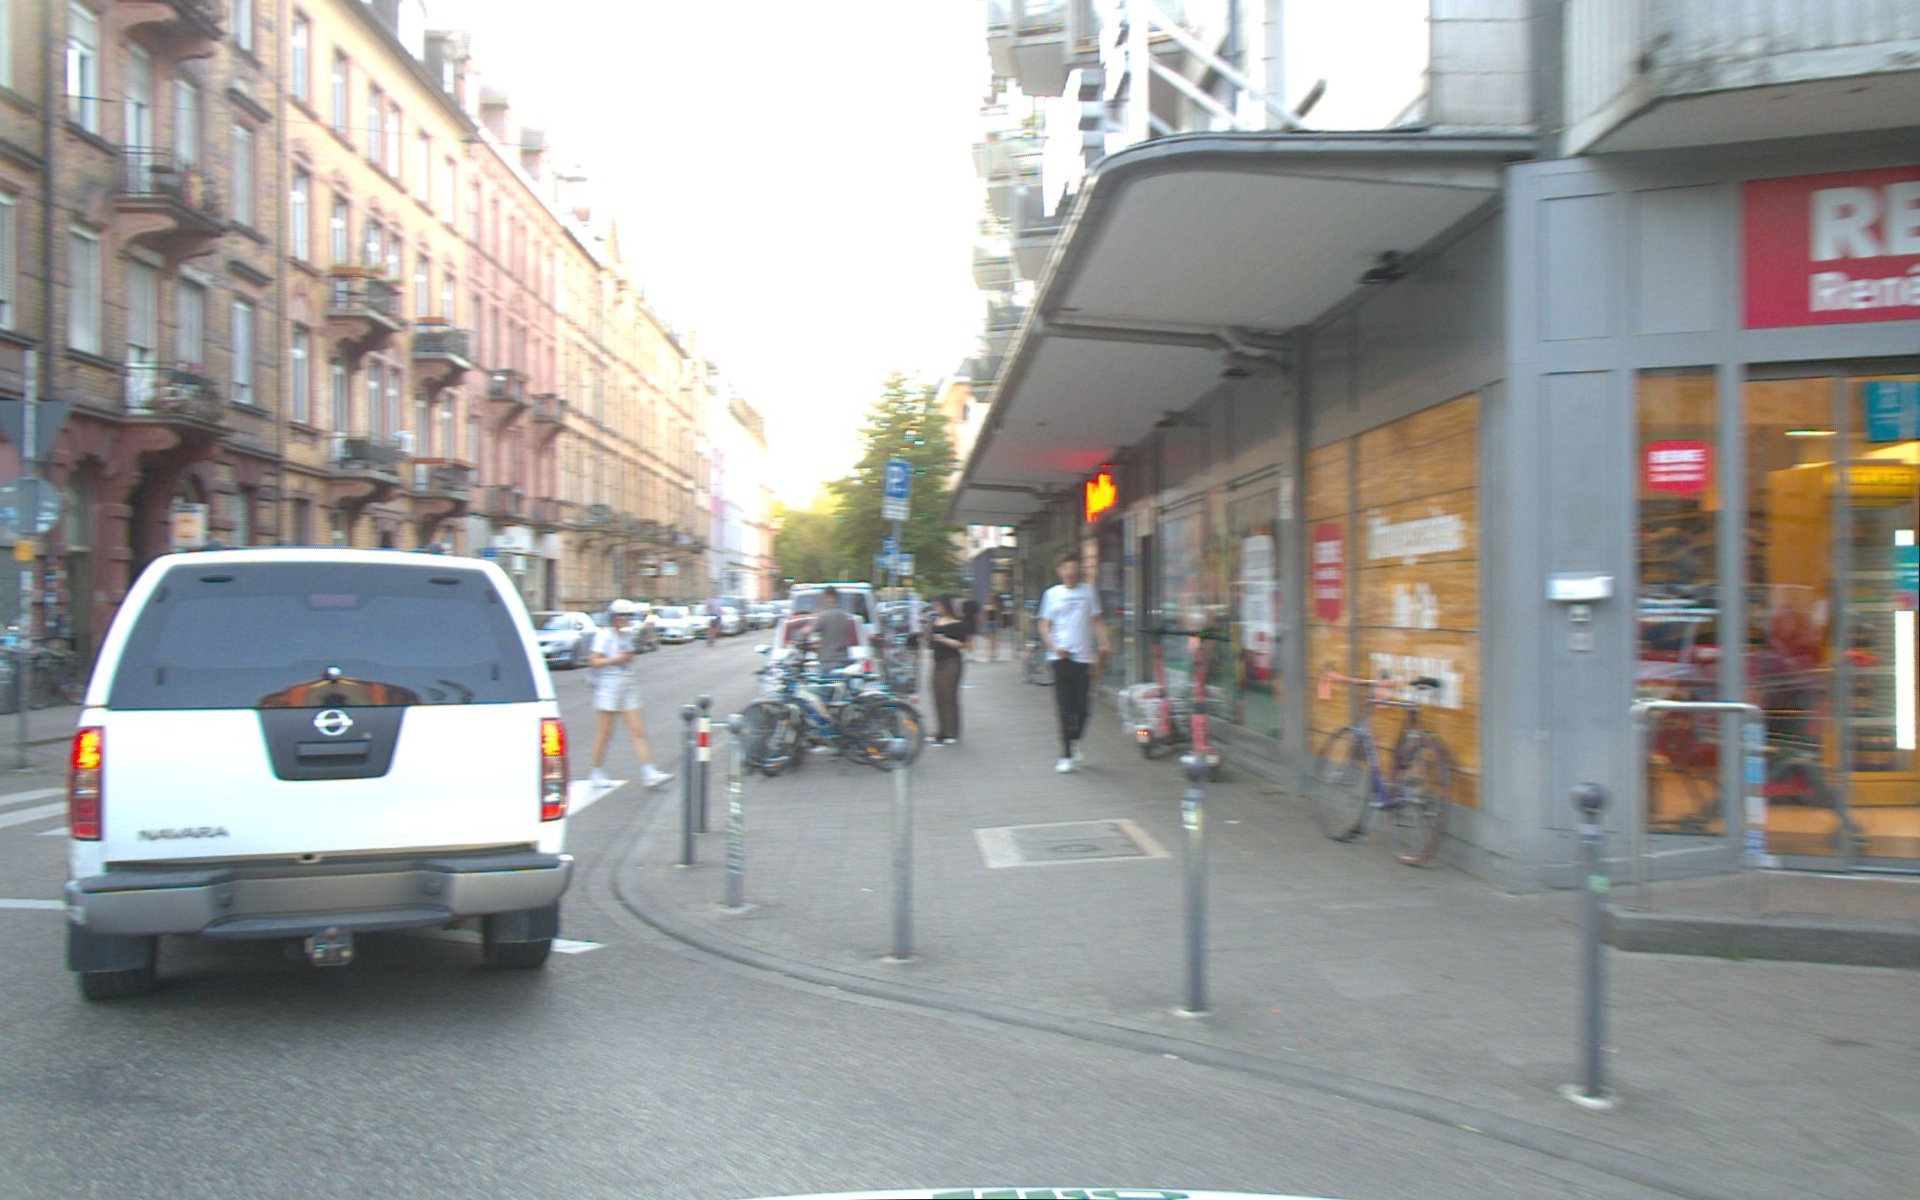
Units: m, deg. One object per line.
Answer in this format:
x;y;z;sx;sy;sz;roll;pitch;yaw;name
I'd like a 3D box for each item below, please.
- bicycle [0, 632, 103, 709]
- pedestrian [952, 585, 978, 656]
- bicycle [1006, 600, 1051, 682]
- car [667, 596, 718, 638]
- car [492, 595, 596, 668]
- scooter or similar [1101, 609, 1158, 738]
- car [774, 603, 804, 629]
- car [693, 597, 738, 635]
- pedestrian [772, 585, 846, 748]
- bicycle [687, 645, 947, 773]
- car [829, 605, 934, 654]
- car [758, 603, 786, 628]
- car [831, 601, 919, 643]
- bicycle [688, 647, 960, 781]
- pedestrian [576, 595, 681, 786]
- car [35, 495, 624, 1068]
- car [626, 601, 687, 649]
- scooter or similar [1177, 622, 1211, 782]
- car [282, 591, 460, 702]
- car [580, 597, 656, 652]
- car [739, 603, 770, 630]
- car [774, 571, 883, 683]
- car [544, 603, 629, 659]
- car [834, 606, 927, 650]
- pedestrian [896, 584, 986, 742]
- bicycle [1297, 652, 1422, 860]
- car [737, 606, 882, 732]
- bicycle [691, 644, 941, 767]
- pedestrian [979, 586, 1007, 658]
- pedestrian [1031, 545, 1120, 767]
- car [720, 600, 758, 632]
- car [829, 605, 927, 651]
-13.647;1.030;24.765;0.379;1.055;2.482;1;-1;-1;bicycle
0.132;0.542;43.441;0.613;1.843;0.789;1;-1;-2;pedestrian
1.227;0.722;29.900;0.545;1.432;2.093;1;-1;-4;bicycle
-11.959;0.751;74.124;1.798;1.780;3.997;1;-1;-3;car
-10.710;0.793;42.869;1.798;1.780;4.160;1;-1;-3;car
1.805;0.757;17.780;0.431;1.313;1.667;1;-1;0;scooter or similar
-11.791;1.105;114.007;1.798;1.780;3.997;1;-1;-3;car
-12.099;0.790;81.933;1.798;1.780;3.997;1;-1;-3;car
-1.598;0.697;17.597;0.705;1.692;0.702;1;-1;-2;pedestrian
-1.384;1.037;16.013;2.415;1.056;0.616;-3;0;-8;bicycle
-2.993;1.111;62.991;3.908;1.780;1.839;1;-1;-3;car
-13.826;1.141;121.806;1.798;1.780;3.997;1;-1;-3;car
-3.856;0.997;75.168;3.908;1.780;1.839;1;-1;-3;car
-1.258;1.042;15.339;2.414;1.056;0.616;-3;0;-7;bicycle
-2.964;0.795;14.856;0.782;1.649;0.943;1;-1;-5;pedestrian
-3.174;0.609;7.997;1.914;1.842;4.960;0;-1;-25;car
-11.816;0.962;64.664;1.798;1.780;3.997;1;-1;-3;car
1.955;0.832;13.856;0.214;1.259;0.967;1;1;5;scooter or similar
-10.159;0.773;28.830;1.798;1.780;3.997;1;-1;-3;car
-11.221;0.786;54.489;1.798;1.708;4.035;1;-1;-3;car
-14.275;1.136;115.185;1.798;1.780;3.997;1;-1;-3;car
-2.459;0.499;31.668;1.904;1.967;3.997;1;-1;-3;car
-11.107;0.907;49.443;1.798;1.574;4.035;1;-1;-3;car
-3.412;1.178;70.790;3.908;1.780;1.839;1;-1;-3;car
-0.209;0.683;18.314;0.708;1.692;0.700;0;-1;36;pedestrian
2.334;0.888;9.725;0.284;1.132;0.962;1;-1;-14;bicycle
-2.000;0.889;22.900;1.798;1.569;3.997;1;-1;-3;car
-1.449;1.042;16.680;2.415;1.056;0.616;-3;0;-8;bicycle
0.869;0.567;43.134;0.621;1.843;0.485;1;-1;10;pedestrian
1.030;0.492;14.899;0.705;1.940;0.702;1;-1;-2;pedestrian
-12.828;0.913;96.174;1.798;1.780;3.997;1;-1;-3;car
-3.362;1.150;67.848;3.908;1.780;1.839;1;-1;-3;car
